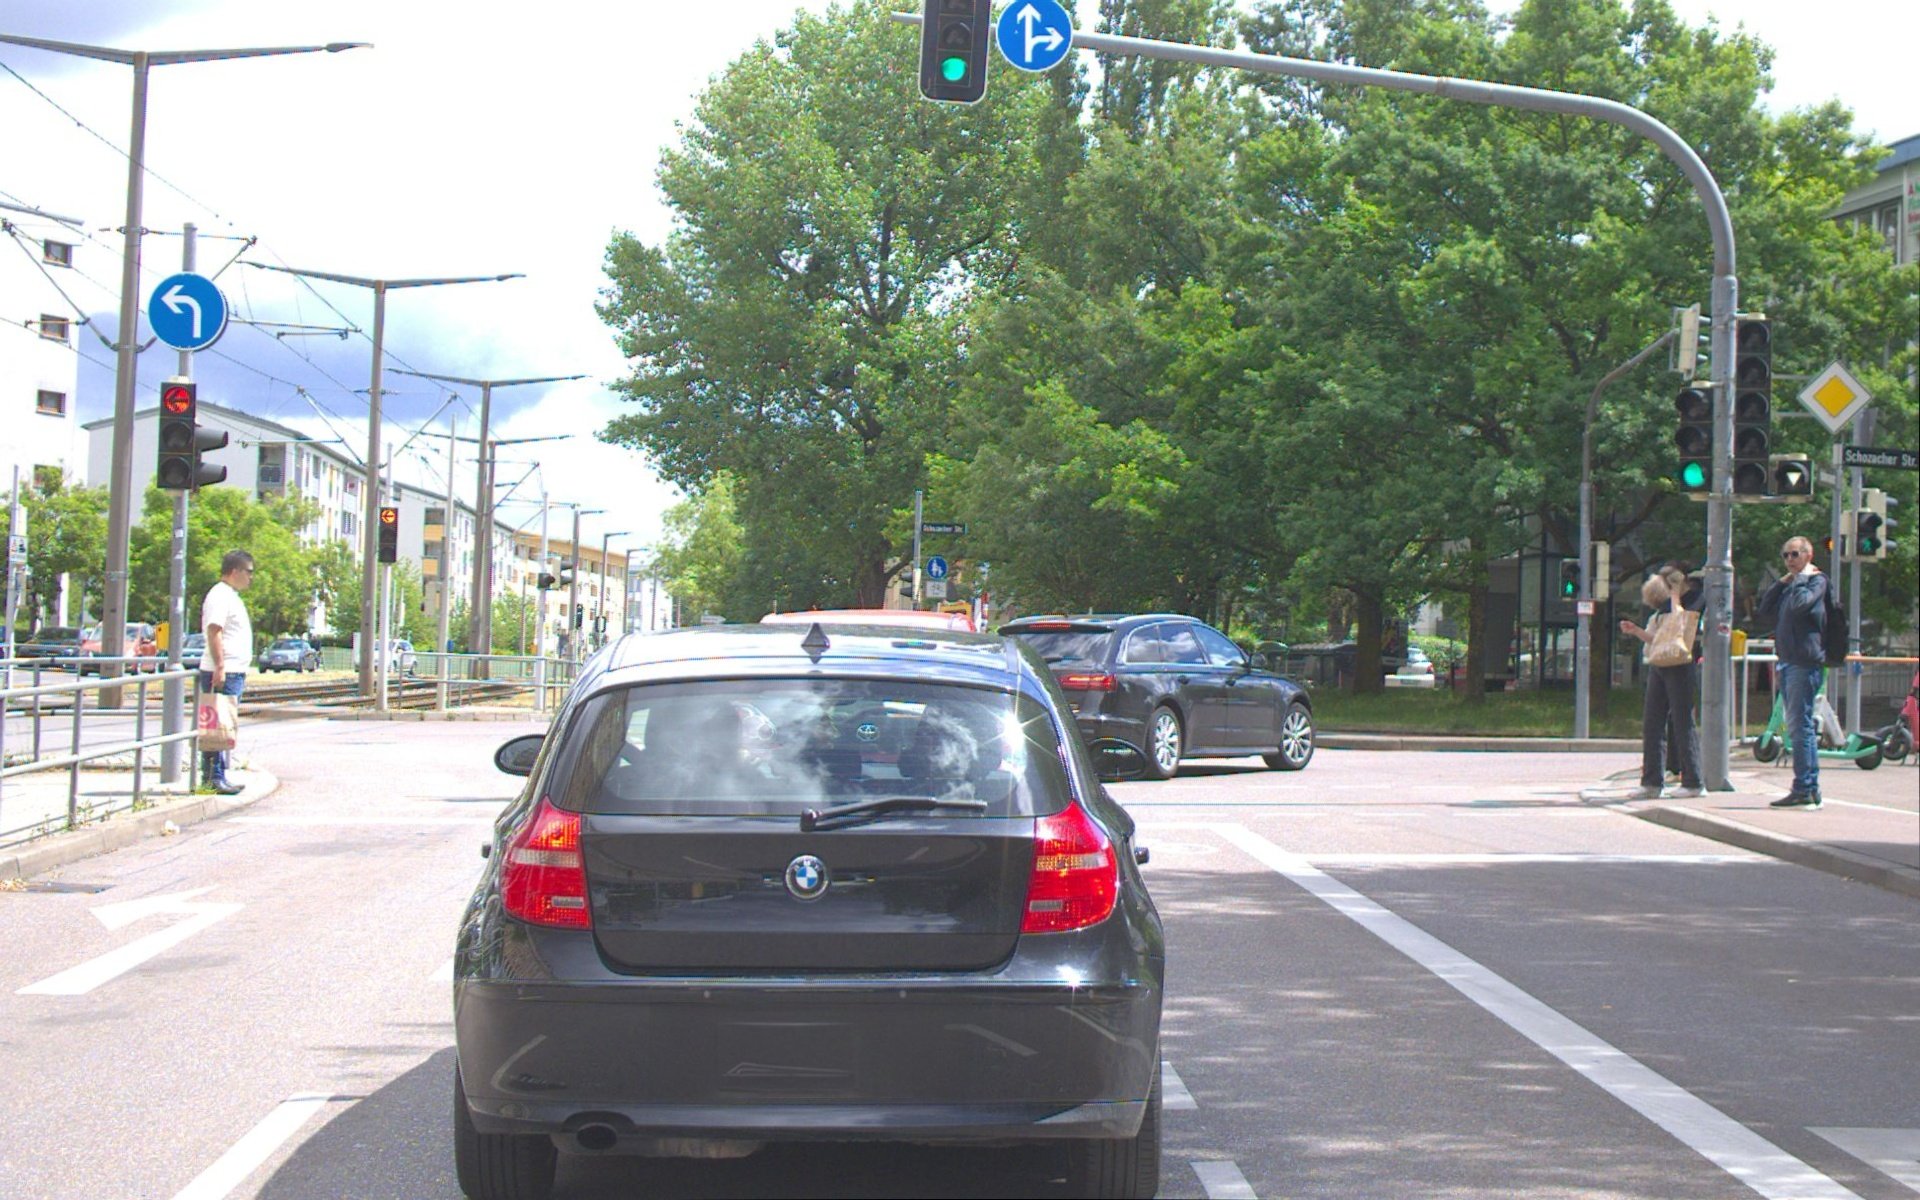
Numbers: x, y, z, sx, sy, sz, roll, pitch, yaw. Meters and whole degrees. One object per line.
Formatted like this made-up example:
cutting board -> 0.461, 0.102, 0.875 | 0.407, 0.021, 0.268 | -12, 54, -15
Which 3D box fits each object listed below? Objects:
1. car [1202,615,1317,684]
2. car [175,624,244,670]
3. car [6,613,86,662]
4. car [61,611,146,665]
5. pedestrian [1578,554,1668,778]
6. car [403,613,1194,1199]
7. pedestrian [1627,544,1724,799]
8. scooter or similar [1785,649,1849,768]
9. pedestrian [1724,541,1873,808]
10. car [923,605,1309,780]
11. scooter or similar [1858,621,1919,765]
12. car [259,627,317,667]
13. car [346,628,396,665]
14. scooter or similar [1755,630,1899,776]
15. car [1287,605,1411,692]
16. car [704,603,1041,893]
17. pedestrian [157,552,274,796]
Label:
car -> 7.616, 1.242, 87.746 | 1.862, 1.656, 4.001 | 1, 0, -11
car -> -26.053, 1.612, 119.475 | 1.651, 1.529, 3.872 | 1, 0, -2
car -> -28.982, 1.185, 109.097 | 1.591, 1.469, 3.775 | 1, 0, -1
car -> -25.402, 1.112, 102.049 | 1.651, 1.529, 3.872 | 1, 0, -2
pedestrian -> 5.302, 0.521, 27.495 | 0.636, 1.760, 0.518 | 1, 0, 6
car -> -0.365, 0.755, 9.180 | 1.700, 1.395, 3.420 | 1, 0, 0
pedestrian -> 5.339, 0.528, 25.676 | 0.636, 1.870, 0.518 | 1, 0, 6
scooter or similar -> 7.959, 0.998, 31.963 | 0.548, 1.060, 1.261 | 1, 0, 14
pedestrian -> 6.020, 0.527, 24.734 | 0.795, 1.870, 1.013 | 1, -1, 0
car -> 1.498, 0.776, 30.937 | 1.903, 1.417, 4.533 | 1, 0, 24
scooter or similar -> 8.776, 0.849, 31.046 | 1.150, 1.268, 0.555 | 2, 0, 2
car -> -27.113, 1.881, 138.782 | 1.651, 1.529, 3.872 | 1, 0, -2
car -> -26.093, 2.052, 152.478 | 1.651, 1.529, 3.872 | 1, 0, -2
scooter or similar -> 7.544, 0.892, 29.942 | 1.110, 1.231, 0.539 | 1, 0, 2
car -> 8.668, 1.061, 76.900 | 1.726, 1.865, 4.001 | 1, 0, -9
car -> -0.446, 0.730, 18.679 | 1.638, 1.395, 3.420 | 1, 0, 0
pedestrian -> -5.356, 0.527, 24.749 | 0.687, 1.728, 0.687 | 0, 0, -1
